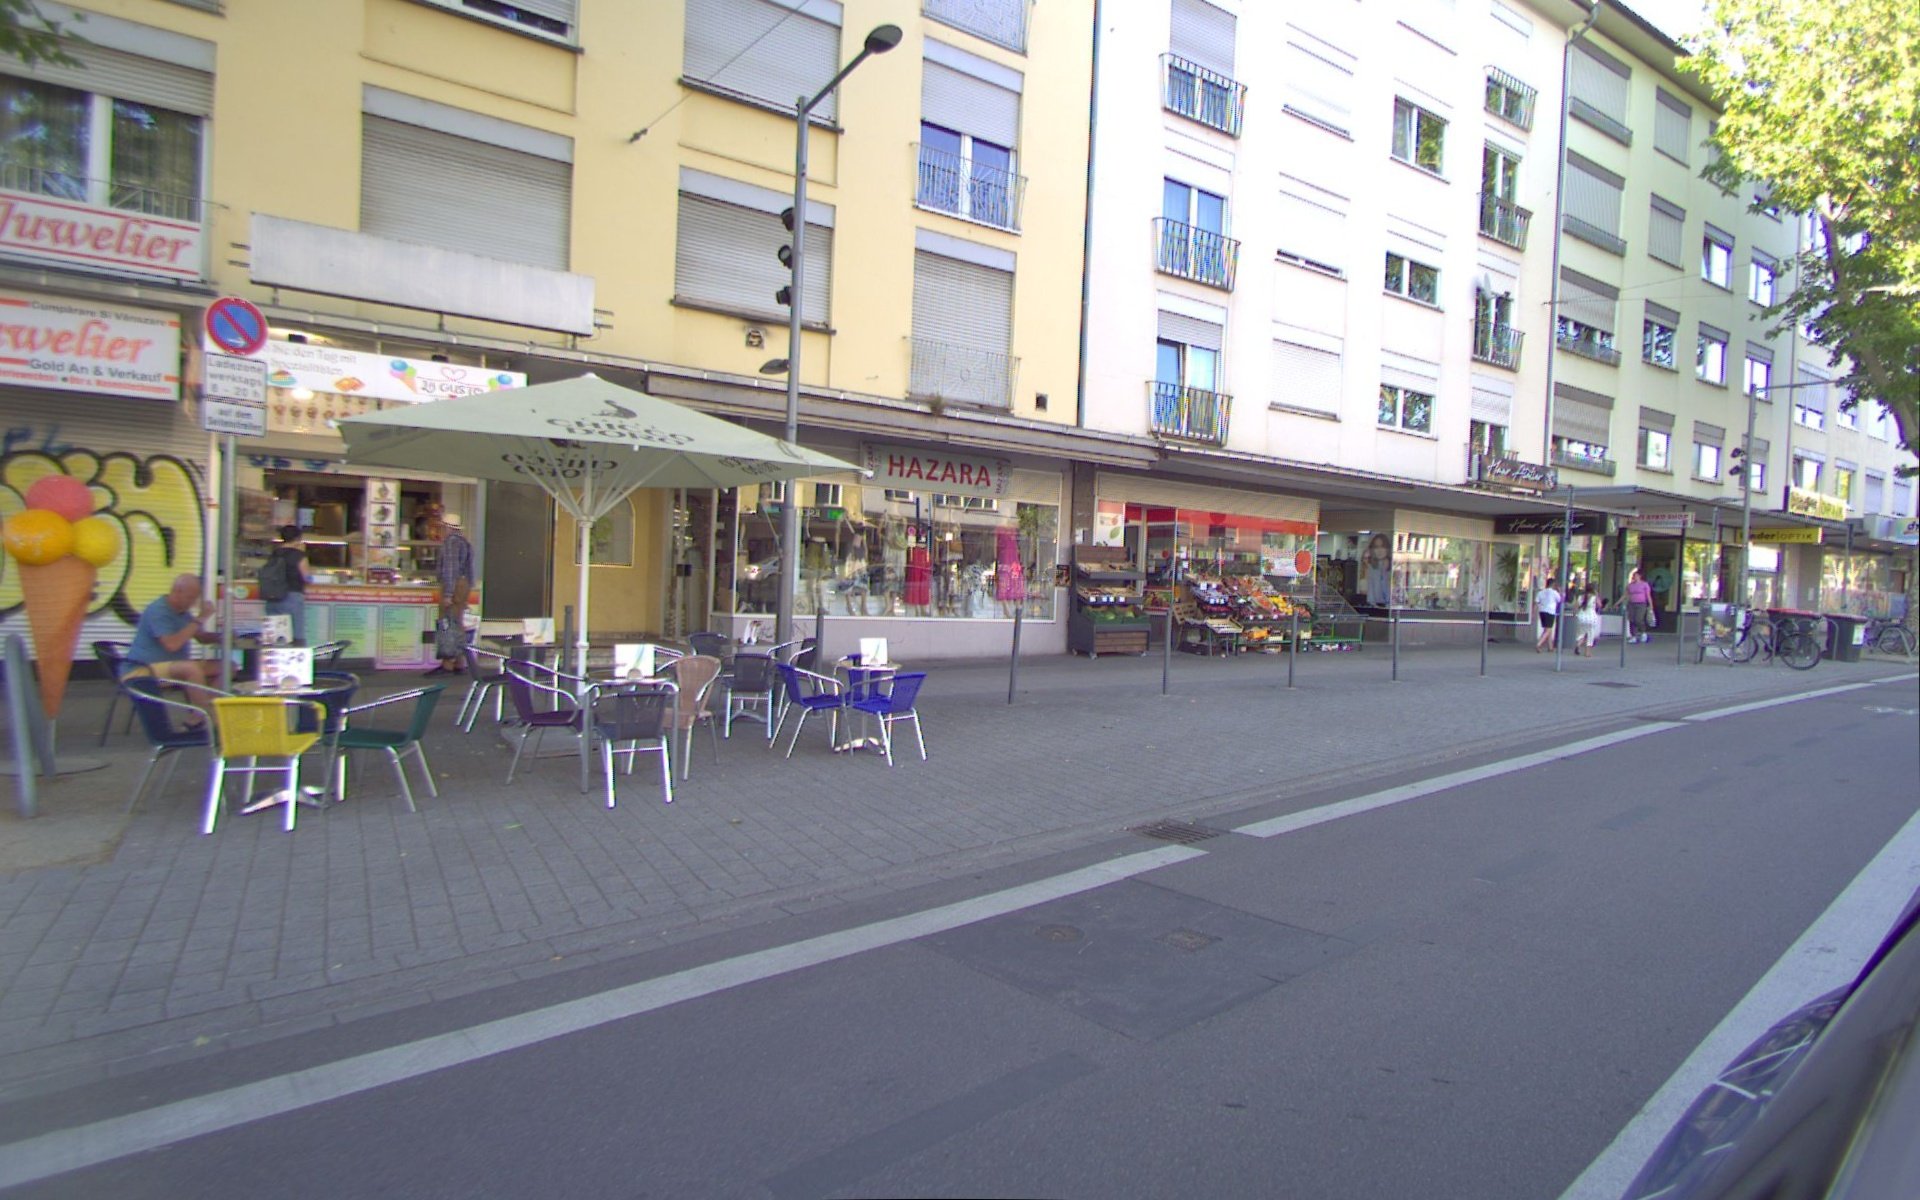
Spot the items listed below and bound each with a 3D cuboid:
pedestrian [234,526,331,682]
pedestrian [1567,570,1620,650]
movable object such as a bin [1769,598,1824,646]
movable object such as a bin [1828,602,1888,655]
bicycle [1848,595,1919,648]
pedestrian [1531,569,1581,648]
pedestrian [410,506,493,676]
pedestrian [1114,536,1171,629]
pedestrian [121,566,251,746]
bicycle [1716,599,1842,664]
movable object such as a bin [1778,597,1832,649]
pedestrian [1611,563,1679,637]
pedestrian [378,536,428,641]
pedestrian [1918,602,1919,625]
[{"bbox_3d":[-7.088,0.023,10.616,0.624,1.564,0.628,1,5,-9],"label":"pedestrian"},{"bbox_3d":[13.174,0.203,21.050,0.615,1.605,0.638,0,4,-34],"label":"pedestrian"},{"bbox_3d":[20.082,0.519,24.300,0.630,1.085,0.726,1,3,-15],"label":"movable object such as a bin"},{"bbox_3d":[20.277,0.635,22.862,0.631,1.115,0.726,1,6,-26],"label":"movable object such as a bin"},{"bbox_3d":[22.284,0.497,23.987,0.731,1.130,1.725,-3,4,-32],"label":"bicycle"},{"bbox_3d":[12.646,0.166,21.487,0.615,1.605,0.624,0,4,-34],"label":"pedestrian"},{"bbox_3d":[-5.653,-0.107,11.279,0.614,1.826,0.638,1,1,-4],"label":"pedestrian"},{"bbox_3d":[3.555,-0.337,19.719,0.864,1.766,0.686,0,0,-37],"label":"pedestrian"},{"bbox_3d":[-5.724,0.380,7.489,0.732,1.240,0.607,0,1,-40],"label":"pedestrian"},{"bbox_3d":[16.867,0.626,20.894,0.507,1.118,1.918,1,4,-26],"label":"bicycle"},{"bbox_3d":[19.637,0.524,23.522,0.632,1.084,0.725,0,7,-35],"label":"movable object such as a bin"},{"bbox_3d":[17.310,-0.021,25.578,1.111,1.784,0.972,0,3,-32],"label":"pedestrian"},{"bbox_3d":[-7.099,-0.152,12.908,0.498,1.312,0.427,0,2,-36],"label":"pedestrian"},{"bbox_3d":[33.941,0.121,35.252,0.878,1.520,0.543,2,3,-33],"label":"pedestrian"}]
